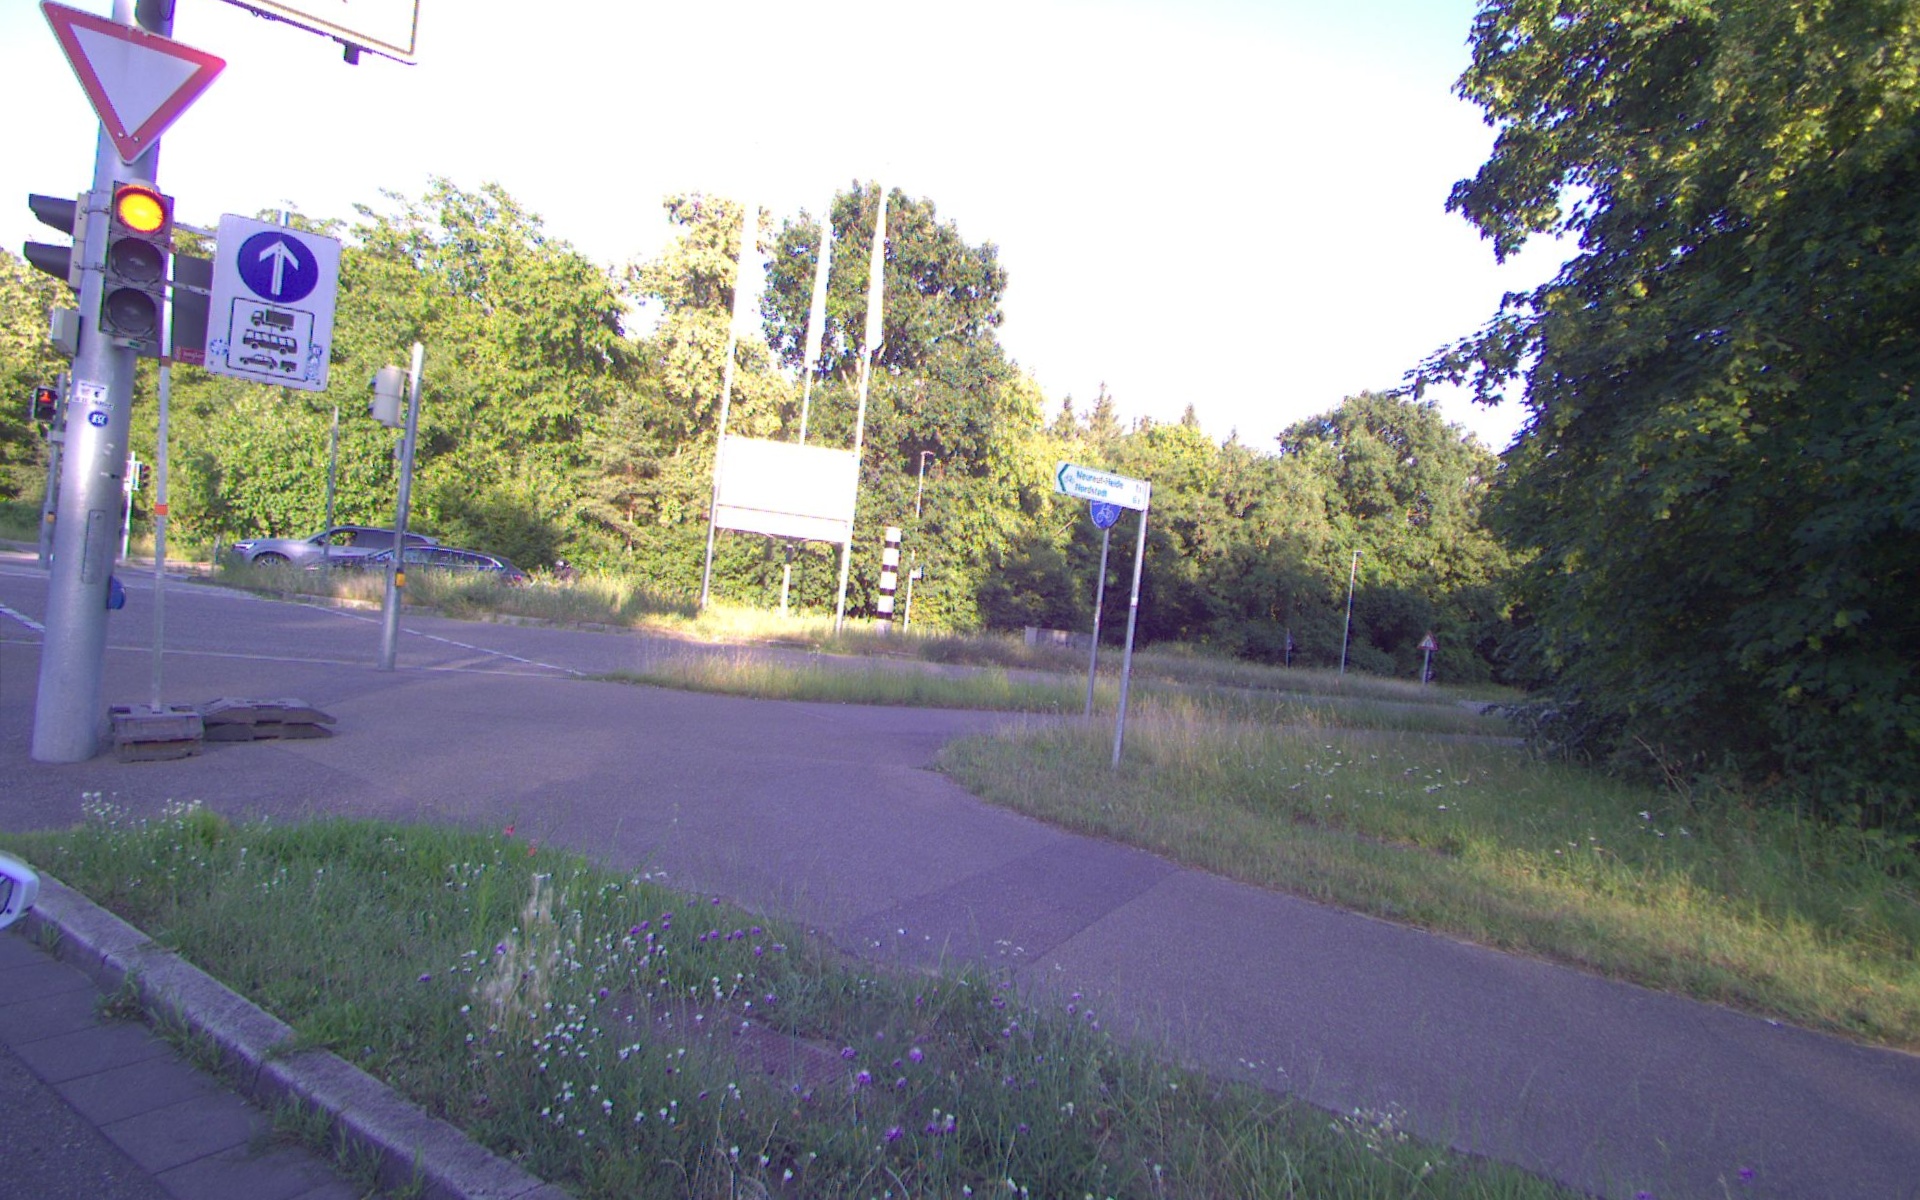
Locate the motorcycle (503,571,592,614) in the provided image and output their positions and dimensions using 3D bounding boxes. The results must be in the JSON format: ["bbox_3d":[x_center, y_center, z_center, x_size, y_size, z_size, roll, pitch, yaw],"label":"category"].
[{"bbox_3d":[-11.421,-0.196,27.889,2.133,0.921,0.655,7,0,-37],"label":"motorcycle"}]

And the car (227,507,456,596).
[{"bbox_3d":[-15.917,-1.208,25.999,4.790,1.618,1.980,7,0,-37],"label":"car"}]

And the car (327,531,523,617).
[{"bbox_3d":[-12.718,-0.600,23.980,3.840,1.507,1.754,7,-1,-36],"label":"car"}]

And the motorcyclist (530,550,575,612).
[{"bbox_3d":[-11.309,-0.531,27.933,0.881,1.614,0.648,6,0,-37],"label":"motorcyclist"}]
